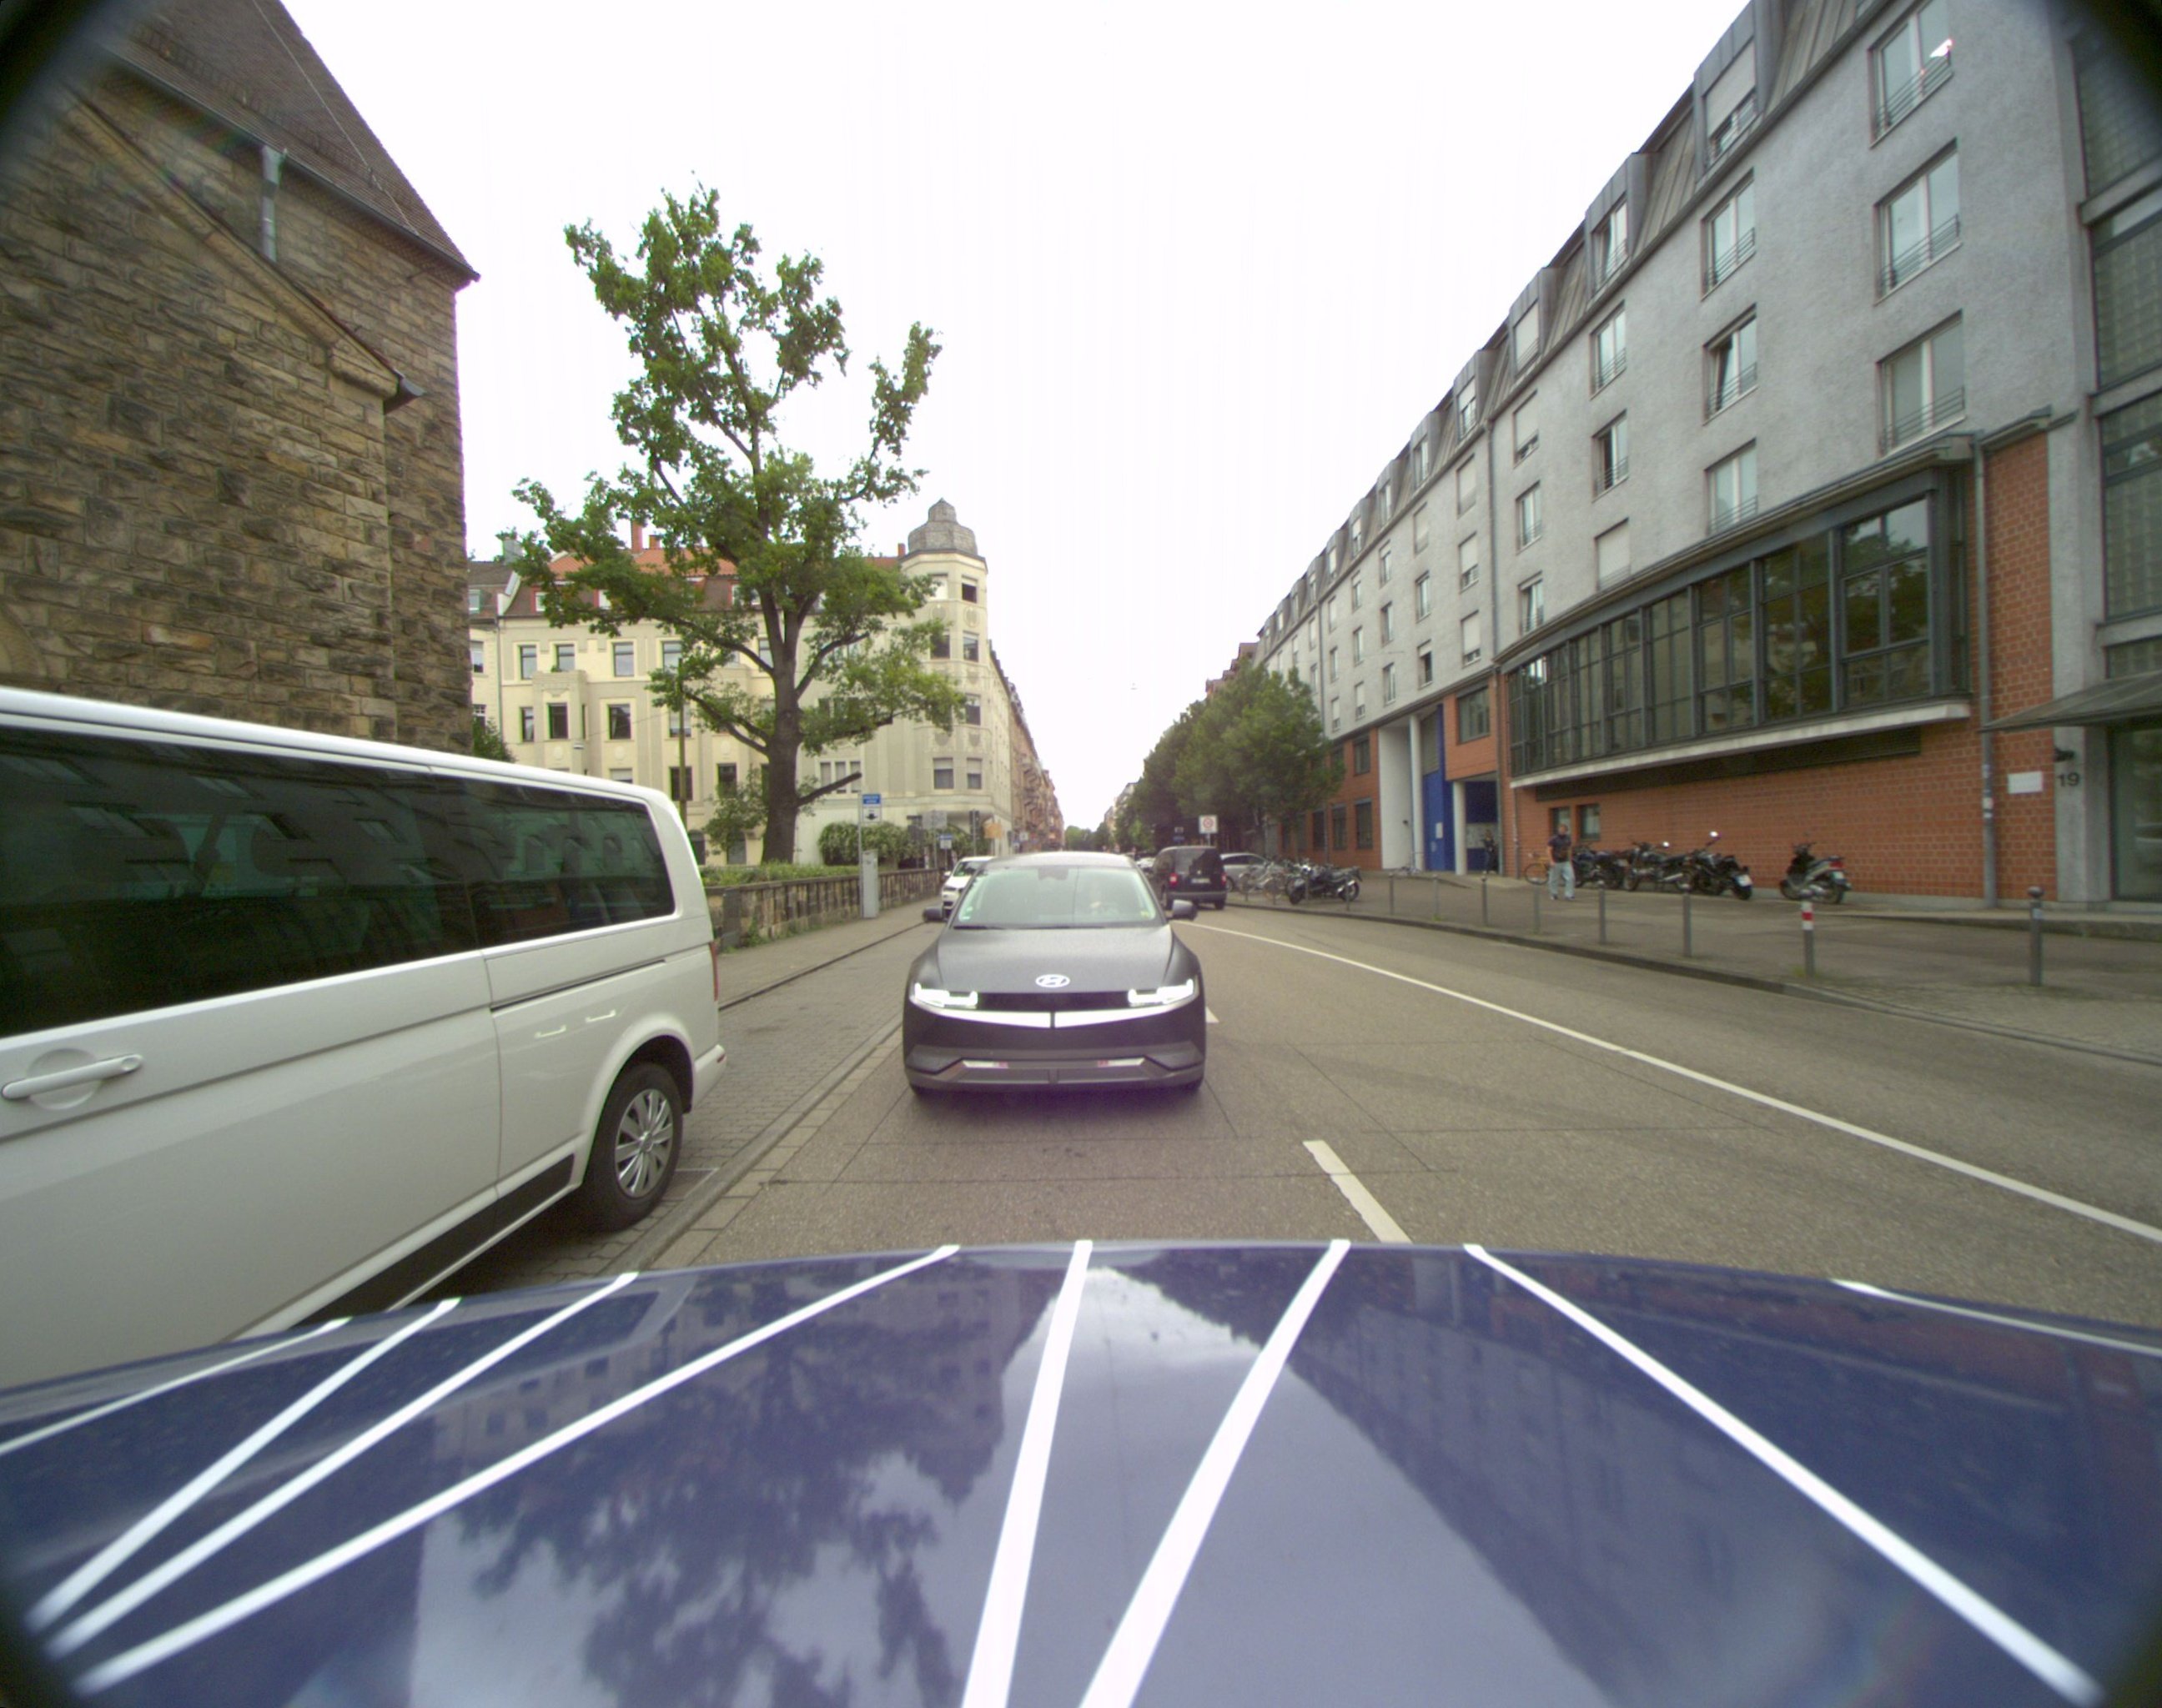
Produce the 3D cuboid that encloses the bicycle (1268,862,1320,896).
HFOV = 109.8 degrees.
[{"bbox_3d":[7.306,0.846,26.100,1.630,1.067,0.416,-3,1,-1],"label":"bicycle"}]

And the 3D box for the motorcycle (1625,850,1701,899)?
[{"bbox_3d":[13.643,0.451,17.876,0.446,1.091,1.763,-2,0,1],"label":"motorcycle"}]

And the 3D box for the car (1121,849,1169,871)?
[{"bbox_3d":[6.072,0.565,72.352,4.004,1.897,1.996,-2,0,-22],"label":"car"}]

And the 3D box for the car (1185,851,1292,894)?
[{"bbox_3d":[6.507,0.738,31.459,4.004,1.619,1.769,-2,0,-22],"label":"car"}]

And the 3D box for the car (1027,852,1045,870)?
[{"bbox_3d":[-3.940,0.571,67.201,1.336,1.462,2.857,-2,1,1],"label":"car"}]

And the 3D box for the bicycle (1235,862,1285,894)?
[{"bbox_3d":[6.468,0.858,27.481,1.630,1.067,0.416,-3,1,-1],"label":"bicycle"}]

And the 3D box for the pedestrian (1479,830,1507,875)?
[{"bbox_3d":[15.474,-0.063,28.564,0.686,1.640,0.622,-2,1,2],"label":"pedestrian"}]

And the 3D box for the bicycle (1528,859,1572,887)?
[{"bbox_3d":[13.850,0.547,22.468,0.336,0.782,1.581,-2,0,1],"label":"bicycle"}]

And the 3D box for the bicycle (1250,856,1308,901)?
[{"bbox_3d":[6.103,0.752,23.440,1.630,1.282,0.416,-3,1,-1],"label":"bicycle"}]

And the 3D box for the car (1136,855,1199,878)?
[{"bbox_3d":[5.999,0.853,52.690,4.004,1.488,1.735,-2,0,-22],"label":"car"}]

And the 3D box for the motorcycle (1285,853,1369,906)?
[{"bbox_3d":[6.951,0.711,21.506,2.124,1.345,0.599,-3,1,1],"label":"motorcycle"}]

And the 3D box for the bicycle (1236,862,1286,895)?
[{"bbox_3d":[6.399,0.870,27.010,1.630,1.067,0.416,-3,1,-1],"label":"bicycle"}]

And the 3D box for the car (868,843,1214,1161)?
[{"bbox_3d":[-0.190,0.800,6.099,1.820,1.675,4.000,-2,0,1],"label":"car"}]

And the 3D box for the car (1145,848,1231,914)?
[{"bbox_3d":[3.139,0.736,23.073,1.698,1.793,4.127,-1,0,-5],"label":"car"}]

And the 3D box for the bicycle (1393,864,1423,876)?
[{"bbox_3d":[13.387,0.653,31.110,1.010,0.434,0.527,-2,2,2],"label":"bicycle"}]

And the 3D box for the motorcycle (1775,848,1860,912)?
[{"bbox_3d":[13.512,0.448,13.982,0.445,1.091,1.765,-1,0,21],"label":"motorcycle"}]

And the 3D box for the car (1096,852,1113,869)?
[{"bbox_3d":[2.826,0.738,90.982,1.998,1.897,4.000,-2,0,1],"label":"car"}]

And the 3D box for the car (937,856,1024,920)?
[{"bbox_3d":[-2.679,0.868,21.137,1.820,1.556,4.000,-2,0,1],"label":"car"}]

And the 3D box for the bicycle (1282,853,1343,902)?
[{"bbox_3d":[6.908,0.691,22.662,1.630,1.345,0.416,-3,1,-1],"label":"bicycle"}]

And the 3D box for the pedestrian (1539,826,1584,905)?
[{"bbox_3d":[11.310,0.268,17.885,0.621,1.812,0.642,-2,1,1],"label":"pedestrian"}]

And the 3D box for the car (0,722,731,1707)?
[{"bbox_3d":[-2.778,0.747,1.456,1.810,1.908,5.163,-2,0,-1],"label":"car"}]

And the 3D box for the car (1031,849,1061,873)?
[{"bbox_3d":[-2.420,0.454,53.582,1.820,1.556,4.000,-2,0,1],"label":"car"}]

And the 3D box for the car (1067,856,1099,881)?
[{"bbox_3d":[0.116,0.968,52.803,1.911,1.597,4.249,-2,0,-4],"label":"car"}]

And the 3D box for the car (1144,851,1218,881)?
[{"bbox_3d":[6.056,0.704,46.053,4.004,1.619,1.996,-2,0,-22],"label":"car"}]

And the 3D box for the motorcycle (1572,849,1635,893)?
[{"bbox_3d":[13.640,0.428,19.883,0.446,1.091,1.763,-2,0,1],"label":"motorcycle"}]

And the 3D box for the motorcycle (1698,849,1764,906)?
[{"bbox_3d":[13.310,0.457,15.598,0.445,1.091,1.765,-1,0,21],"label":"motorcycle"}]

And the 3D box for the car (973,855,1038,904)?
[{"bbox_3d":[-2.620,0.839,27.138,1.820,1.556,4.000,-2,0,1],"label":"car"}]
